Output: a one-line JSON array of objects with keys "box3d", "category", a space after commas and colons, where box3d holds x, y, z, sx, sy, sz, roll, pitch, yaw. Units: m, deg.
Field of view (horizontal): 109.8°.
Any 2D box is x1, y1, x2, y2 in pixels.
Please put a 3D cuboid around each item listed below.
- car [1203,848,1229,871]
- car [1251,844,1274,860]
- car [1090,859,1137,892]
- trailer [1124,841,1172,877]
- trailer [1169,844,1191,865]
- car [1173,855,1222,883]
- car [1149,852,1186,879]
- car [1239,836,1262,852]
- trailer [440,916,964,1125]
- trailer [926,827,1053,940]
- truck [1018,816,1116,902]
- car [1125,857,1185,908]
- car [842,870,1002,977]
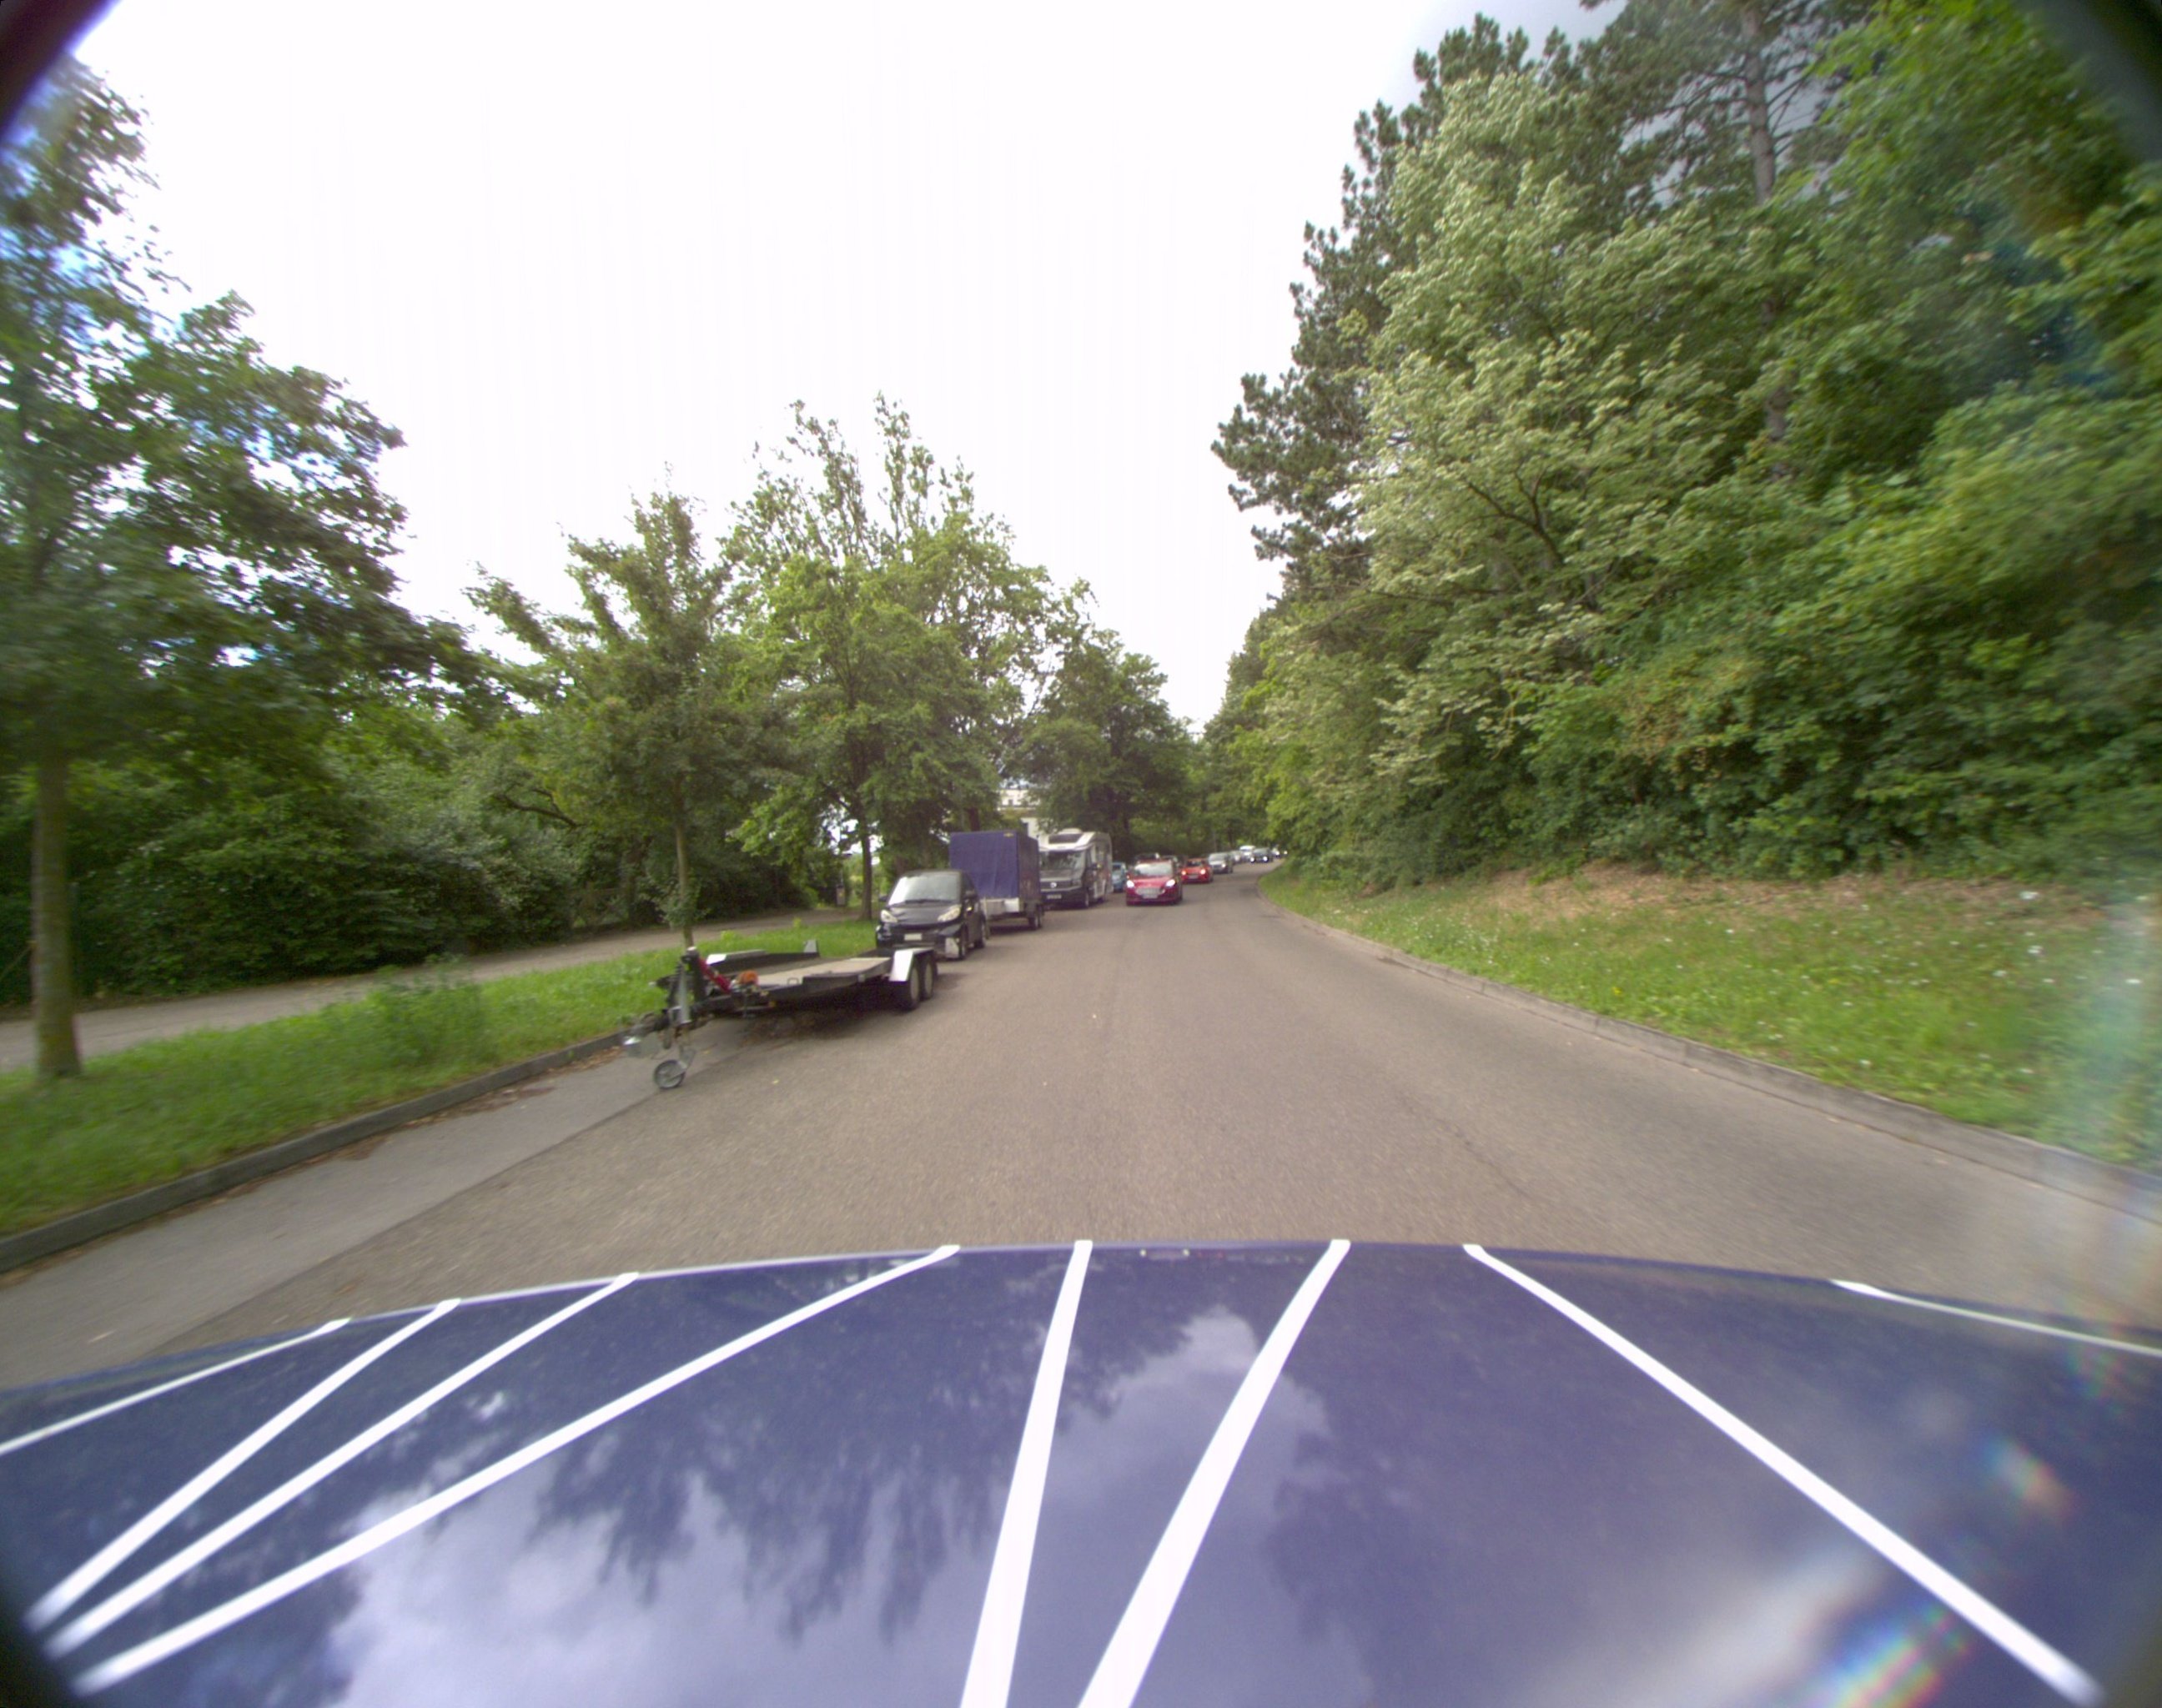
[{"box3d": [10.686, 0.416, 59.879, 1.921, 1.671, 4.003, -1, 1, 12], "category": "car"}, {"box3d": [19.340, -0.222, 80.863, 1.765, 1.509, 4.005, -3, 1, 22], "category": "car"}, {"box3d": [1.767, 1.094, 39.953, 1.698, 1.538, 3.771, -2, 1, 13], "category": "car"}, {"box3d": [4.366, 0.263, 48.813, 1.996, 1.922, 5.898, -2, 2, 15], "category": "trailer"}, {"box3d": [8.003, 0.039, 61.127, 1.376, 1.595, 2.269, -3, 0, 15], "category": "trailer"}, {"box3d": [6.987, 0.882, 45.333, 1.864, 1.440, 4.182, -3, 0, 23], "category": "car"}, {"box3d": [6.253, 0.795, 54.441, 1.843, 1.675, 4.605, -4, -1, 15], "category": "car"}, {"box3d": [20.028, -1.205, 89.566, 1.864, 1.716, 4.182, -3, 0, 23], "category": "car"}, {"box3d": [-2.855, 1.302, 7.919, 2.109, 0.647, 6.401, -3, 0, 1], "category": "trailer"}, {"box3d": [-1.999, 0.675, 18.173, 2.111, 2.347, 4.704, 0, -1, 5], "category": "trailer"}, {"box3d": [-0.331, 0.158, 29.542, 2.307, 2.916, 7.039, -1, 0, 11], "category": "truck"}, {"box3d": [2.883, 0.992, 28.682, 1.997, 1.619, 4.628, -3, 0, 8], "category": "car"}, {"box3d": [-2.679, 1.139, 13.606, 1.733, 1.513, 3.406, -3, 0, 7], "category": "car"}]
